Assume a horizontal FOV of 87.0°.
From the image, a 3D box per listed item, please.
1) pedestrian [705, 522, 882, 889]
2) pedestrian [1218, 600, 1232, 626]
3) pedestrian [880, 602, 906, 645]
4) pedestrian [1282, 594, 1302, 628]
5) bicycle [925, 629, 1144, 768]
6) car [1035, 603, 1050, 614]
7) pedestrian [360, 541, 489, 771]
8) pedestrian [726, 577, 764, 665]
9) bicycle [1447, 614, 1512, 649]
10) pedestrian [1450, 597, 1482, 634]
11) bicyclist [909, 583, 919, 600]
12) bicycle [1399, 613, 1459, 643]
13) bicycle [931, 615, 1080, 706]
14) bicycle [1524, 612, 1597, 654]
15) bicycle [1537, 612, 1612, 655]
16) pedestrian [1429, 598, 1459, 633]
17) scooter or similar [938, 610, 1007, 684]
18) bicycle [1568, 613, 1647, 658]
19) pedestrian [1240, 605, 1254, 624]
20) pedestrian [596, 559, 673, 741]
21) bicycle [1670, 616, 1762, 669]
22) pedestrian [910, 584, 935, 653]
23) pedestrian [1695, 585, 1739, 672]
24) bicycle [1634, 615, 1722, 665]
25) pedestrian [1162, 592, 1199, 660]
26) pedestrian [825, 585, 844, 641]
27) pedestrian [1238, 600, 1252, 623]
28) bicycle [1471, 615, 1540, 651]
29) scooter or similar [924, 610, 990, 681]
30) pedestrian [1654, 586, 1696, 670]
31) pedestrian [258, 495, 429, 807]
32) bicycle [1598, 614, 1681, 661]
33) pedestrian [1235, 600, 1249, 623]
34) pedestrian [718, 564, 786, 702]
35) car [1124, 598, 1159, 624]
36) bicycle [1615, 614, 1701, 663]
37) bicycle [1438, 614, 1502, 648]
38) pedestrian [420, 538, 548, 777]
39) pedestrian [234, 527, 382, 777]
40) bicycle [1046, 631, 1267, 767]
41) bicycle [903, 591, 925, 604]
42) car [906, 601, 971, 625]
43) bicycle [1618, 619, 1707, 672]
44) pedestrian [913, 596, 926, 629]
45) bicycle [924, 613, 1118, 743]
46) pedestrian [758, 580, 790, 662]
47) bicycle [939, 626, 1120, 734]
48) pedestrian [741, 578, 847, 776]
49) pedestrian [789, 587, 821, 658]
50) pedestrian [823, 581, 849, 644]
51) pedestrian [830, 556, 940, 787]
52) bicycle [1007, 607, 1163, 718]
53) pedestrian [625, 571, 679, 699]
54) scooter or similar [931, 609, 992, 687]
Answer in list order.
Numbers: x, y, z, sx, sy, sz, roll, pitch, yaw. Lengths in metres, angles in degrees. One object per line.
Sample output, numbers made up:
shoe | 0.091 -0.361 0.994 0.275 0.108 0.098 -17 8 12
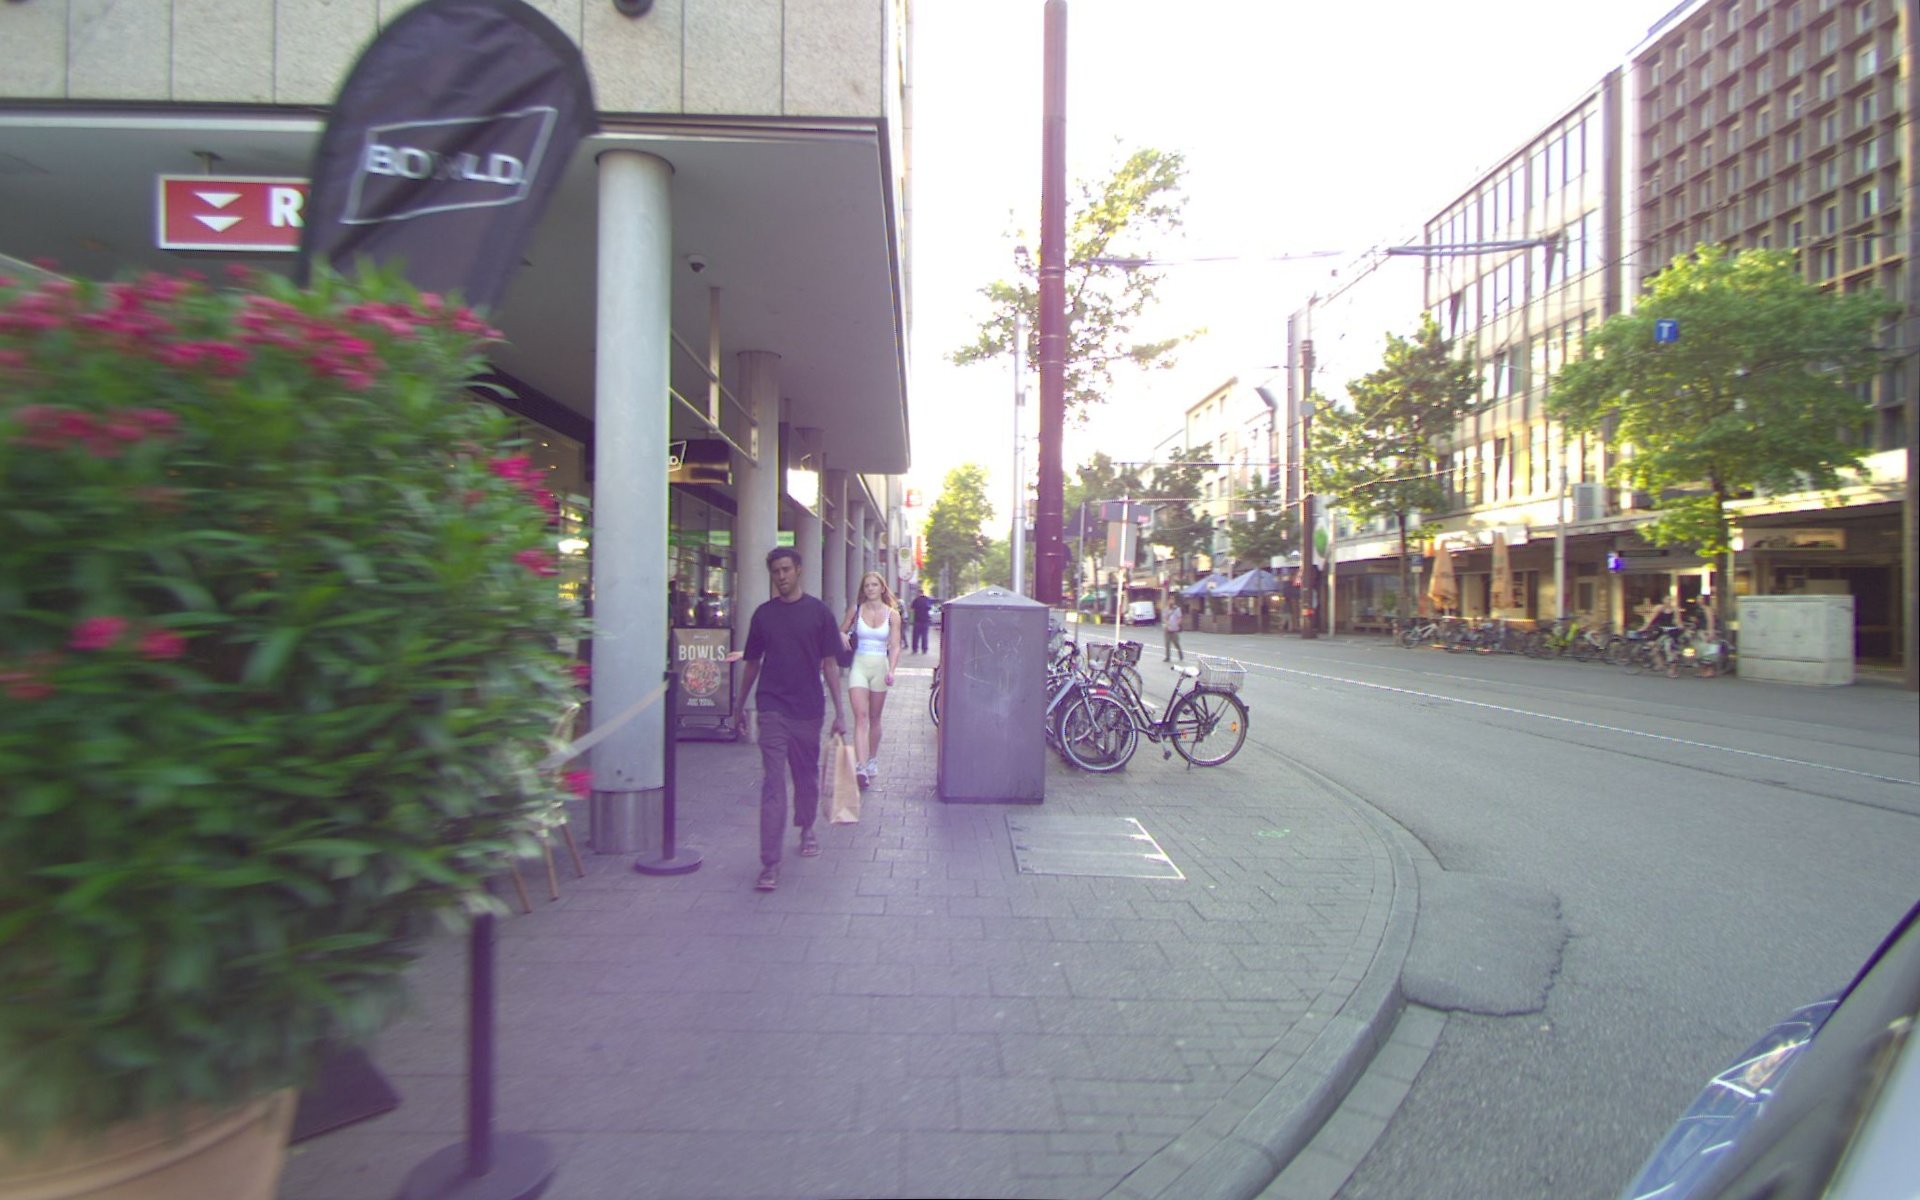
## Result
pedestrian | -0.831 0.502 5.307 0.751 1.740 0.923 1 0 0
pedestrian | 16.429 0.778 62.761 0.645 1.572 0.565 -2 0 -3
pedestrian | -2.171 0.759 32.948 0.800 1.398 0.662 -1 0 0
pedestrian | 18.242 0.578 55.635 0.673 1.815 0.990 -2 0 0
bicycle | 0.631 0.854 8.971 1.822 1.123 0.667 2 -1 -3
car | 11.368 1.141 139.517 1.765 1.529 4.000 0 0 -1
pedestrian | -4.400 0.441 8.363 0.652 1.809 0.719 1 0 -1
pedestrian | -4.741 0.459 22.346 0.676 1.907 0.774 1 -1 -2
bicycle | 15.817 0.951 30.835 1.742 1.003 0.490 -1 -2 -7
pedestrian | 19.263 0.587 38.523 0.659 1.342 0.912 -2 0 -3
bicyclist | -3.999 -0.770 87.475 0.880 1.432 0.762 -1 2 -2
bicycle | 15.795 0.944 34.095 1.752 0.978 0.487 -2 0 16
bicycle | 0.622 0.846 14.288 1.962 1.170 0.726 2 -1 -6
bicycle | 16.476 0.902 27.777 1.742 1.085 0.490 -2 -1 -7
bicycle | 16.514 0.904 27.200 1.742 1.085 0.490 -2 -1 -7
pedestrian | 18.997 0.591 39.711 0.659 1.342 0.912 -2 0 -3
scooter or similar | 0.231 0.826 17.901 1.167 1.267 0.393 2 -2 -31
bicycle | 16.603 0.907 25.960 1.742 1.085 0.490 -2 -1 -7
pedestrian | 18.500 0.934 65.204 0.630 1.171 0.666 -2 0 -3
pedestrian | -3.246 0.485 10.124 0.561 1.753 0.617 1 -1 -2
bicycle | 15.922 0.880 21.357 0.480 1.058 1.779 0 -1 -5
pedestrian | -1.043 0.507 28.150 0.658 1.863 0.708 1 0 -2
pedestrian | 15.333 0.572 20.499 0.597 1.721 0.531 -1 -1 28
bicycle | 16.693 0.915 23.543 1.742 1.085 0.490 -2 -1 -7
pedestrian | 6.080 0.707 27.944 0.808 1.816 0.989 -2 -2 5
pedestrian | -4.118 0.429 33.237 0.530 1.829 0.604 1 -1 -2
pedestrian | 18.863 0.750 66.961 0.650 1.452 0.643 -4 0 -1
bicycle | 15.855 0.956 29.423 1.742 1.003 0.490 -1 -2 -7
scooter or similar | -0.047 0.826 18.588 1.094 1.267 0.497 2 -2 -32
pedestrian | 14.855 0.574 21.043 0.597 1.721 0.531 -1 -1 28
pedestrian | -4.260 0.337 7.051 0.675 2.039 0.783 1 -1 -1
bicycle | 16.610 0.912 24.740 1.742 1.085 0.490 -2 -1 -7
pedestrian | 18.830 0.747 67.680 0.650 1.452 0.643 -4 0 -1
pedestrian | -2.794 0.436 13.651 0.760 1.795 0.774 1 0 -2
car | 13.915 0.835 77.837 1.797 1.845 4.329 -3 0 0
bicycle | 16.681 0.913 24.195 1.742 1.085 0.490 -2 -1 -7
bicycle | 15.792 0.949 31.363 1.742 1.003 0.490 -1 -2 -7
pedestrian | -3.769 0.437 8.064 0.652 1.809 0.719 1 0 -1
pedestrian | -5.134 0.389 8.004 0.653 1.872 0.718 1 0 4
bicycle | 1.752 0.881 9.161 1.822 1.123 0.667 2 -1 -3
bicycle | -3.971 -0.220 87.491 1.829 1.086 0.733 -1 2 -2
car | -1.618 0.985 76.251 4.546 1.651 1.918 3 -3 -33
bicycle | 14.585 0.922 21.073 0.480 1.058 1.779 0 -1 -5
pedestrian | -2.035 0.622 50.804 0.658 1.608 0.638 -1 0 -2
bicycle | 0.610 0.797 10.589 1.882 1.238 0.764 2 -1 -6
pedestrian | -4.086 0.453 22.289 0.572 1.775 0.774 1 -1 -2
bicycle | 0.755 0.883 11.351 1.882 1.091 0.764 2 -1 -6
pedestrian | -1.359 0.614 8.412 0.789 1.556 0.811 1 -1 -5
pedestrian | -3.760 0.540 24.592 0.638 1.682 0.680 1 -1 0
pedestrian | -3.753 0.378 30.602 0.658 1.863 0.880 1 0 -1
pedestrian | -0.600 0.539 7.984 0.789 1.716 0.811 1 -1 -5
bicycle | 1.629 0.806 13.355 1.882 1.350 0.726 2 -1 -6
pedestrian | -4.321 0.485 14.215 0.561 1.753 0.617 1 -1 -2
scooter or similar | 0.040 0.807 17.112 0.391 1.267 1.175 0 -2 36
